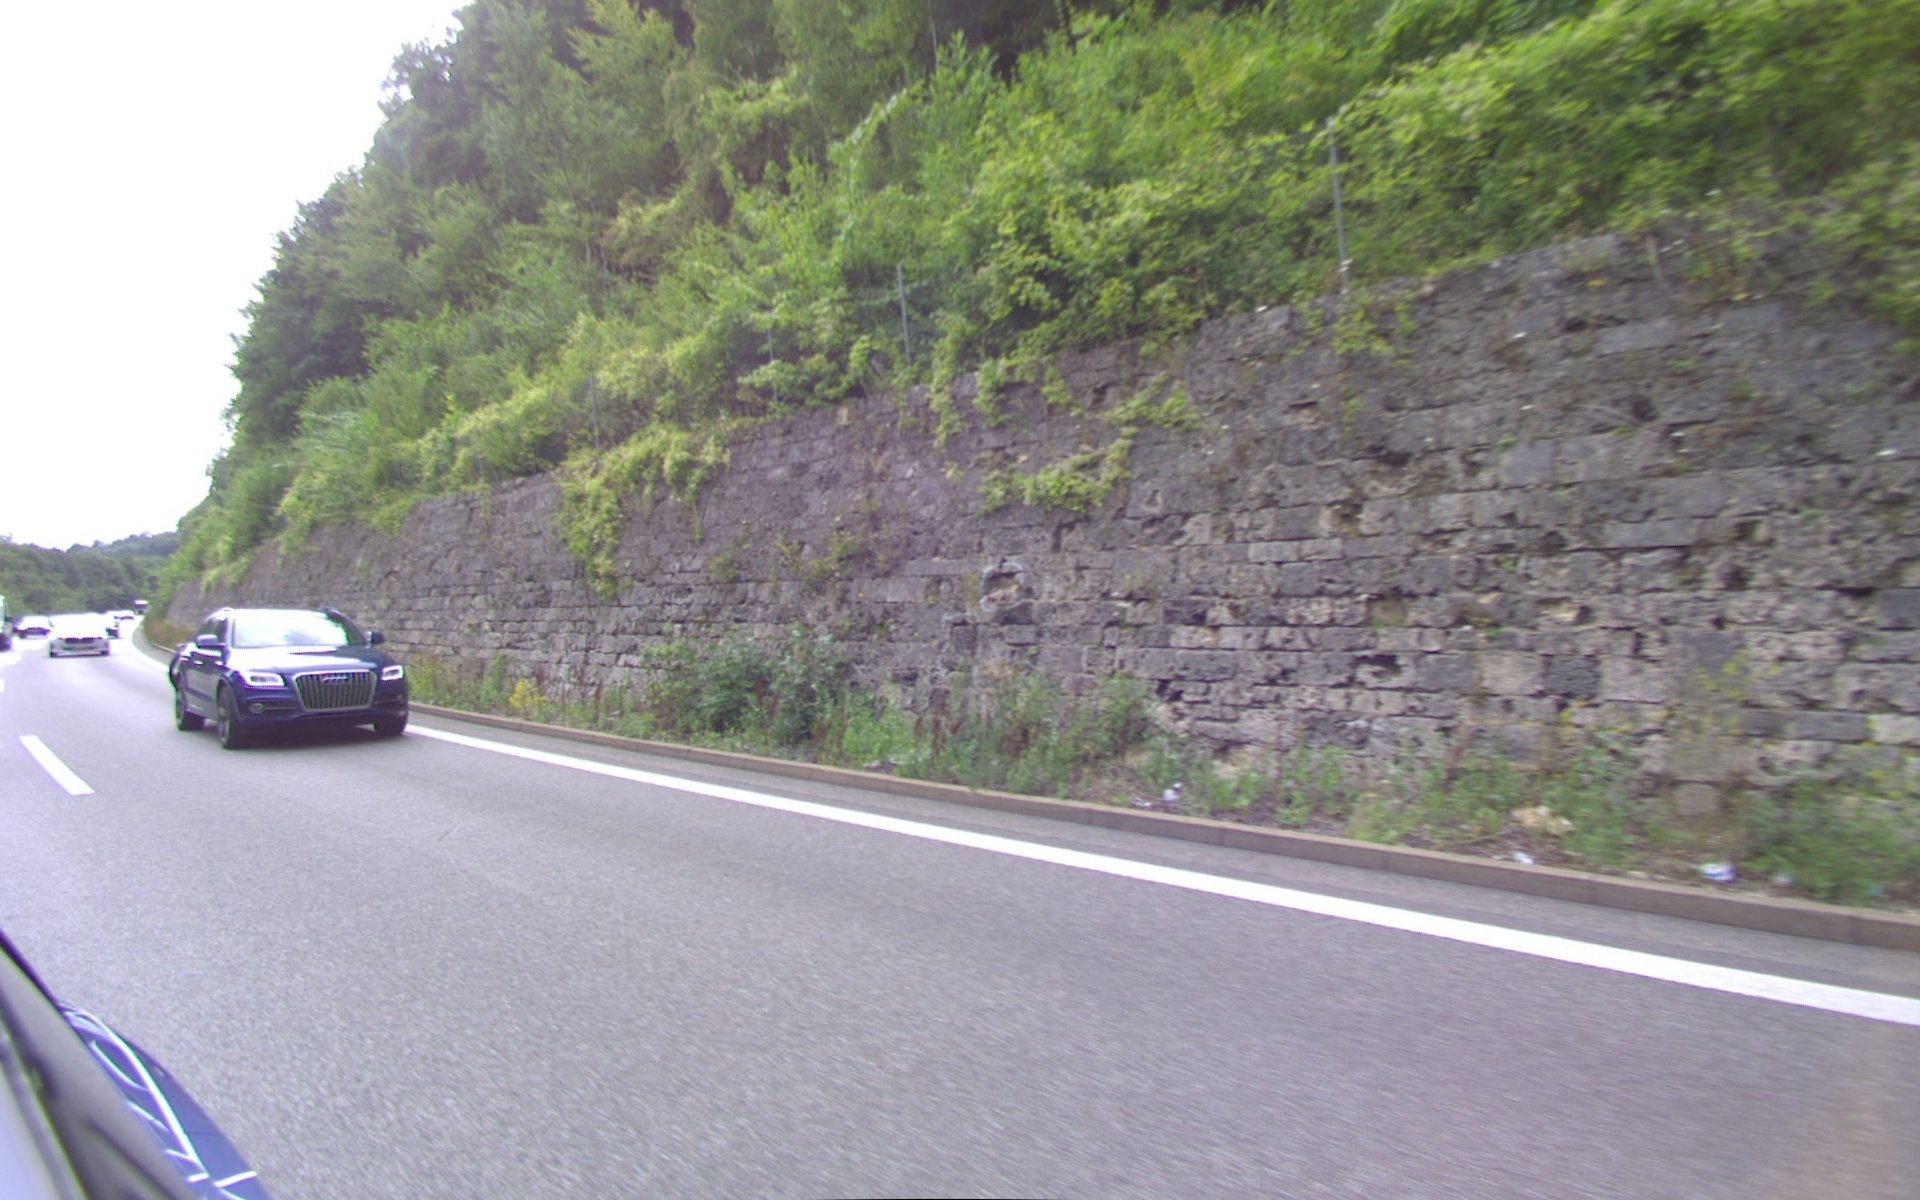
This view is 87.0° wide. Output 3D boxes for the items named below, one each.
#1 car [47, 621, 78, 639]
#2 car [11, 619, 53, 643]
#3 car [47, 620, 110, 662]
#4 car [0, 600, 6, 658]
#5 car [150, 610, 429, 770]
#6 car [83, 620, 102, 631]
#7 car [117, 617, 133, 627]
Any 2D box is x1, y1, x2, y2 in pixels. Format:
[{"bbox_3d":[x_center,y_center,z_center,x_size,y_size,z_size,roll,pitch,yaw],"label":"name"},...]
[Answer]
[{"bbox_3d":[-83.965,2.814,94.729,1.795,1.567,4.009,0,-2,-37],"label":"car"},{"bbox_3d":[-66.040,2.220,72.036,1.795,1.567,4.008,0,-2,-37],"label":"car"},{"bbox_3d":[-34.811,1.627,39.960,1.796,1.567,4.005,0,-2,-42],"label":"car"},{"bbox_3d":[-45.492,1.392,46.607,2.068,2.582,5.926,1,-2,-42],"label":"car"},{"bbox_3d":[-9.098,0.987,13.470,5.588,1.605,1.949,0,2,45],"label":"car"},{"bbox_3d":[-128.656,3.830,150.102,1.795,1.567,4.009,0,-2,-37],"label":"car"},{"bbox_3d":[-137.933,3.570,167.164,1.795,1.567,4.009,0,-2,-37],"label":"car"}]
